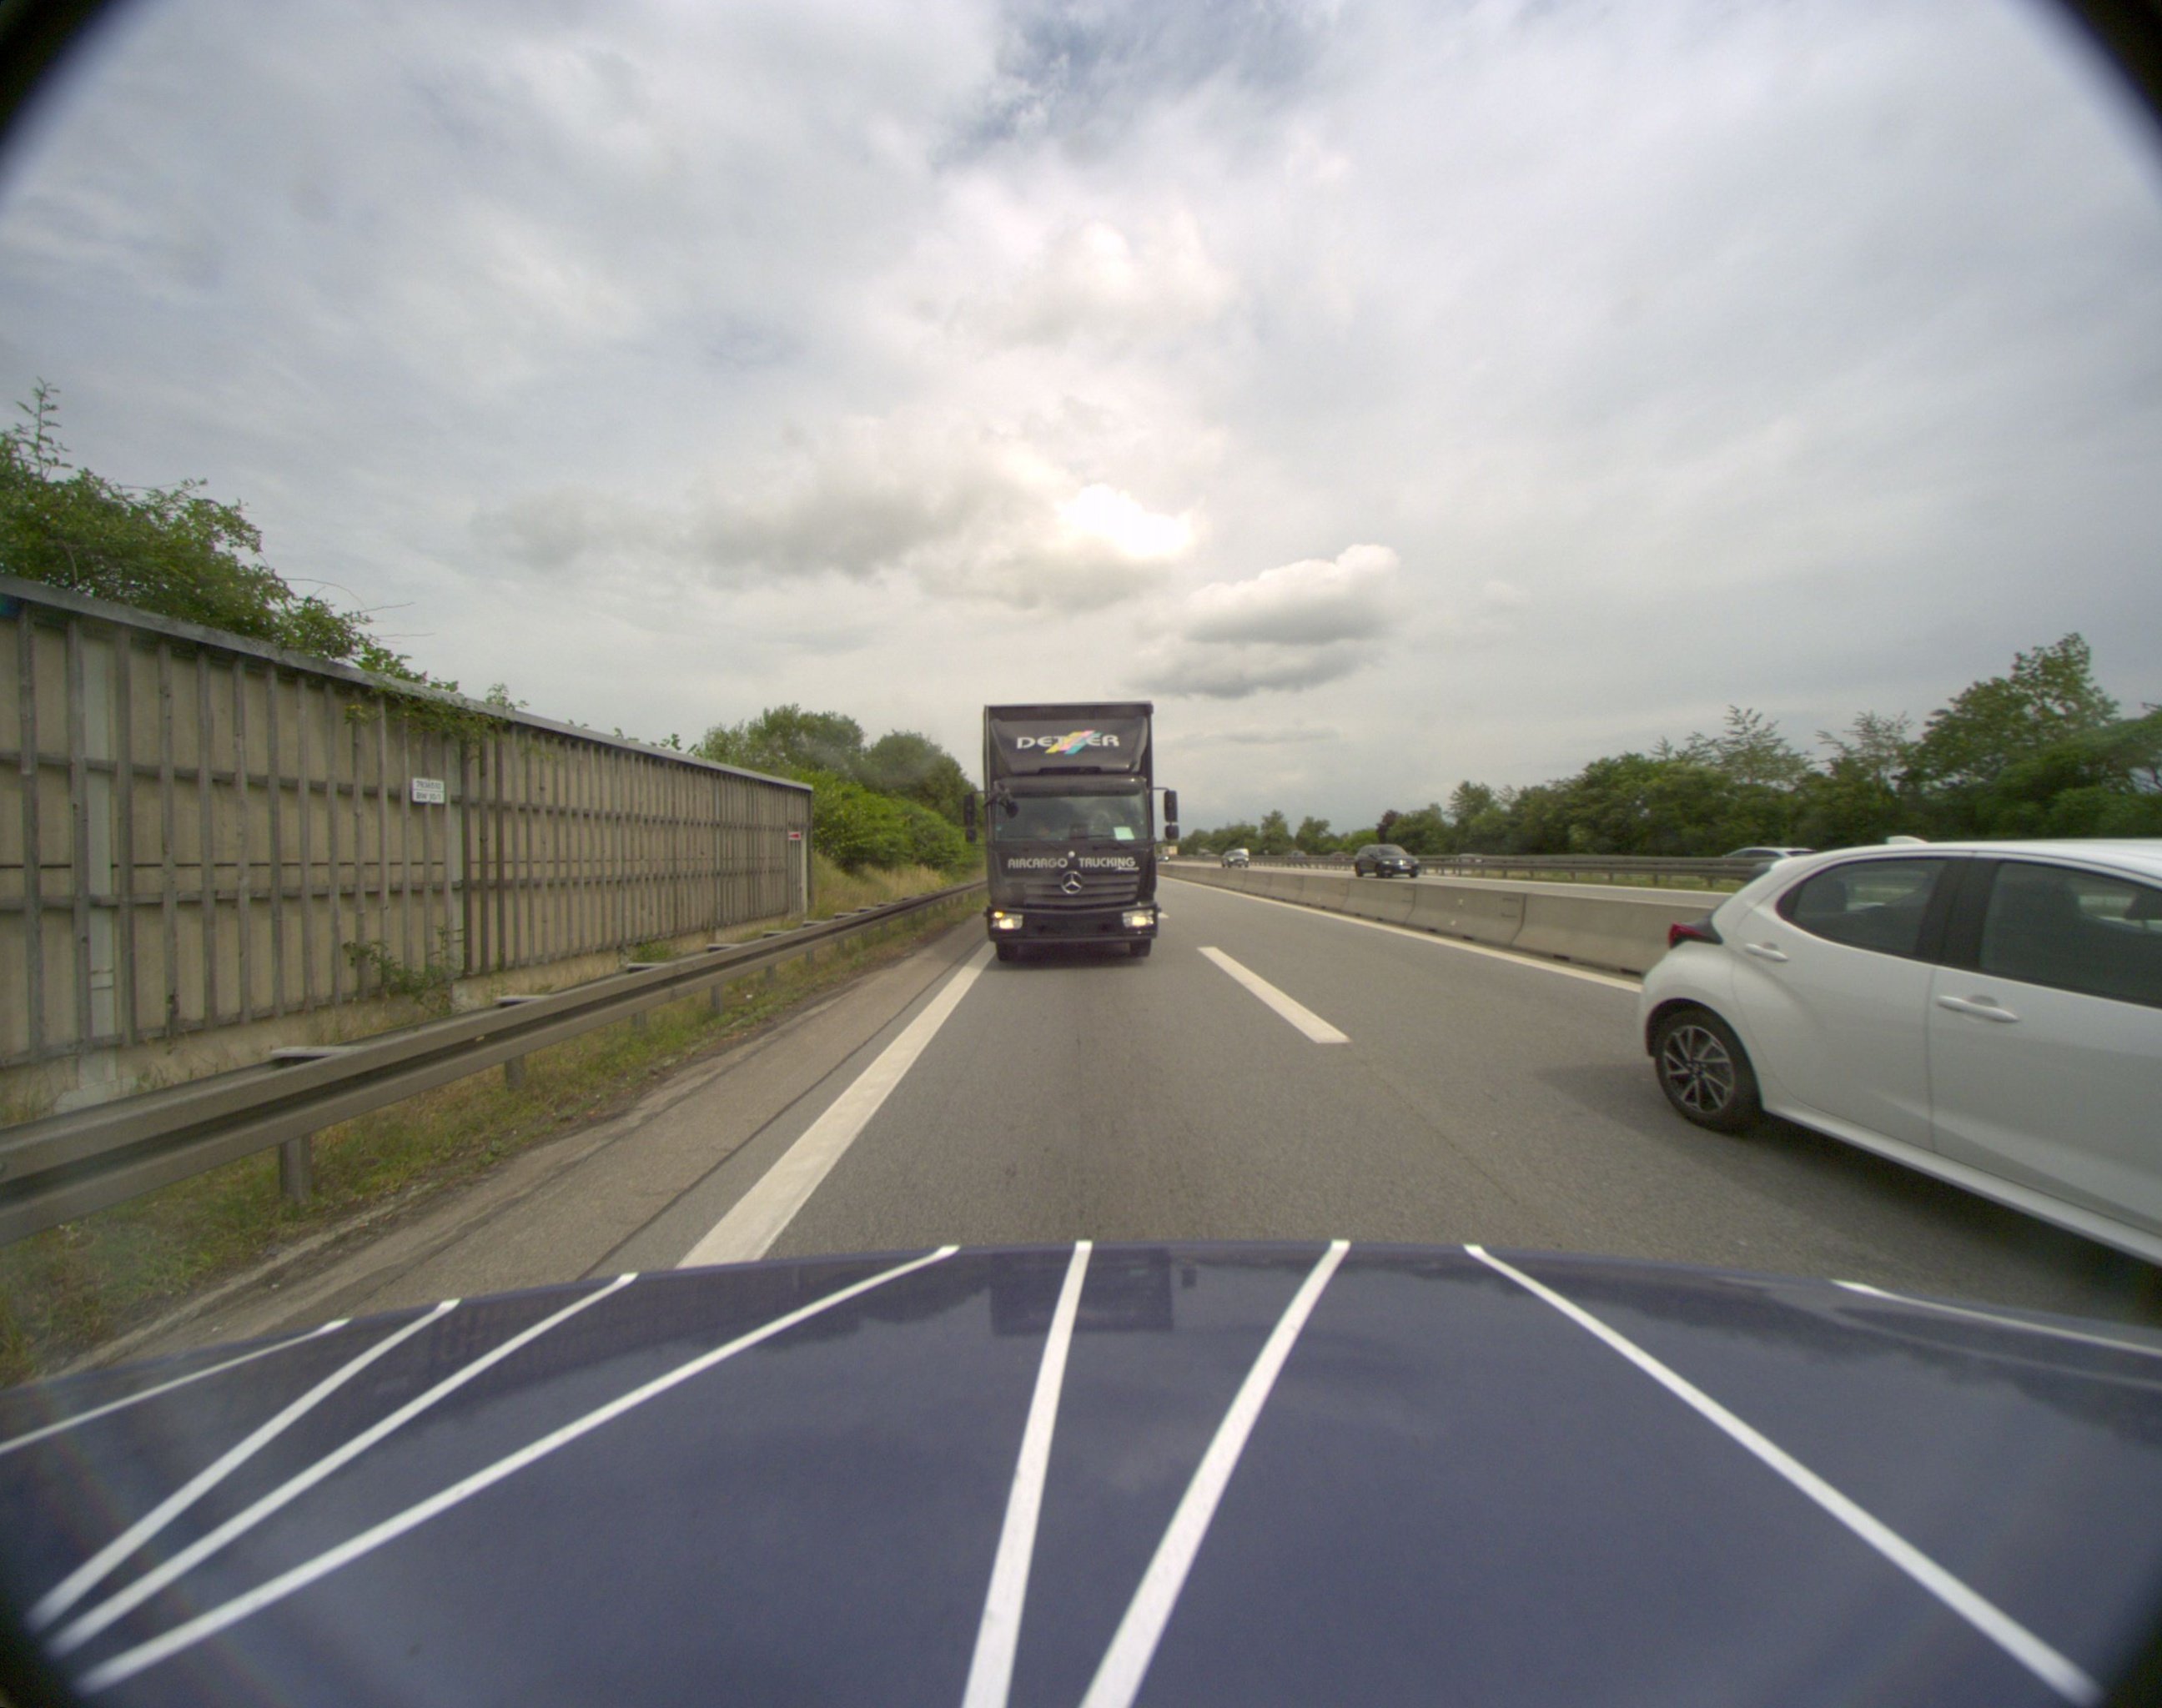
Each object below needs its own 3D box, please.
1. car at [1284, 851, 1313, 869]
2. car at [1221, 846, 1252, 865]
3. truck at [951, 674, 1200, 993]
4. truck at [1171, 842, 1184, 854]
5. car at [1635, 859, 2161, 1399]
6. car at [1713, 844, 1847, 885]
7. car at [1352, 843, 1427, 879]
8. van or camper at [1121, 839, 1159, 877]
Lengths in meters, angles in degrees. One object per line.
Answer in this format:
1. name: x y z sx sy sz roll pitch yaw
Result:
1. car: 23.399 0.598 81.995 1.998 1.838 4.000 -1 0 1
2. car: 14.509 0.153 70.922 1.906 1.630 4.644 -2 0 0
3. truck: -0.350 -0.291 14.749 3.025 3.931 10.336 -2 0 -3
4. truck: 32.300 -2.074 254.838 3.259 3.760 9.836 -1 0 0
5. car: 3.959 0.806 2.343 1.705 1.499 3.840 -1 0 0
6. car: 27.430 0.381 29.997 1.737 1.511 3.718 -1 0 -4
7. car: 15.015 0.307 37.223 1.906 1.629 4.233 -2 0 0
8. van or camper: 3.816 0.227 50.179 2.004 2.357 6.125 -1 0 0
